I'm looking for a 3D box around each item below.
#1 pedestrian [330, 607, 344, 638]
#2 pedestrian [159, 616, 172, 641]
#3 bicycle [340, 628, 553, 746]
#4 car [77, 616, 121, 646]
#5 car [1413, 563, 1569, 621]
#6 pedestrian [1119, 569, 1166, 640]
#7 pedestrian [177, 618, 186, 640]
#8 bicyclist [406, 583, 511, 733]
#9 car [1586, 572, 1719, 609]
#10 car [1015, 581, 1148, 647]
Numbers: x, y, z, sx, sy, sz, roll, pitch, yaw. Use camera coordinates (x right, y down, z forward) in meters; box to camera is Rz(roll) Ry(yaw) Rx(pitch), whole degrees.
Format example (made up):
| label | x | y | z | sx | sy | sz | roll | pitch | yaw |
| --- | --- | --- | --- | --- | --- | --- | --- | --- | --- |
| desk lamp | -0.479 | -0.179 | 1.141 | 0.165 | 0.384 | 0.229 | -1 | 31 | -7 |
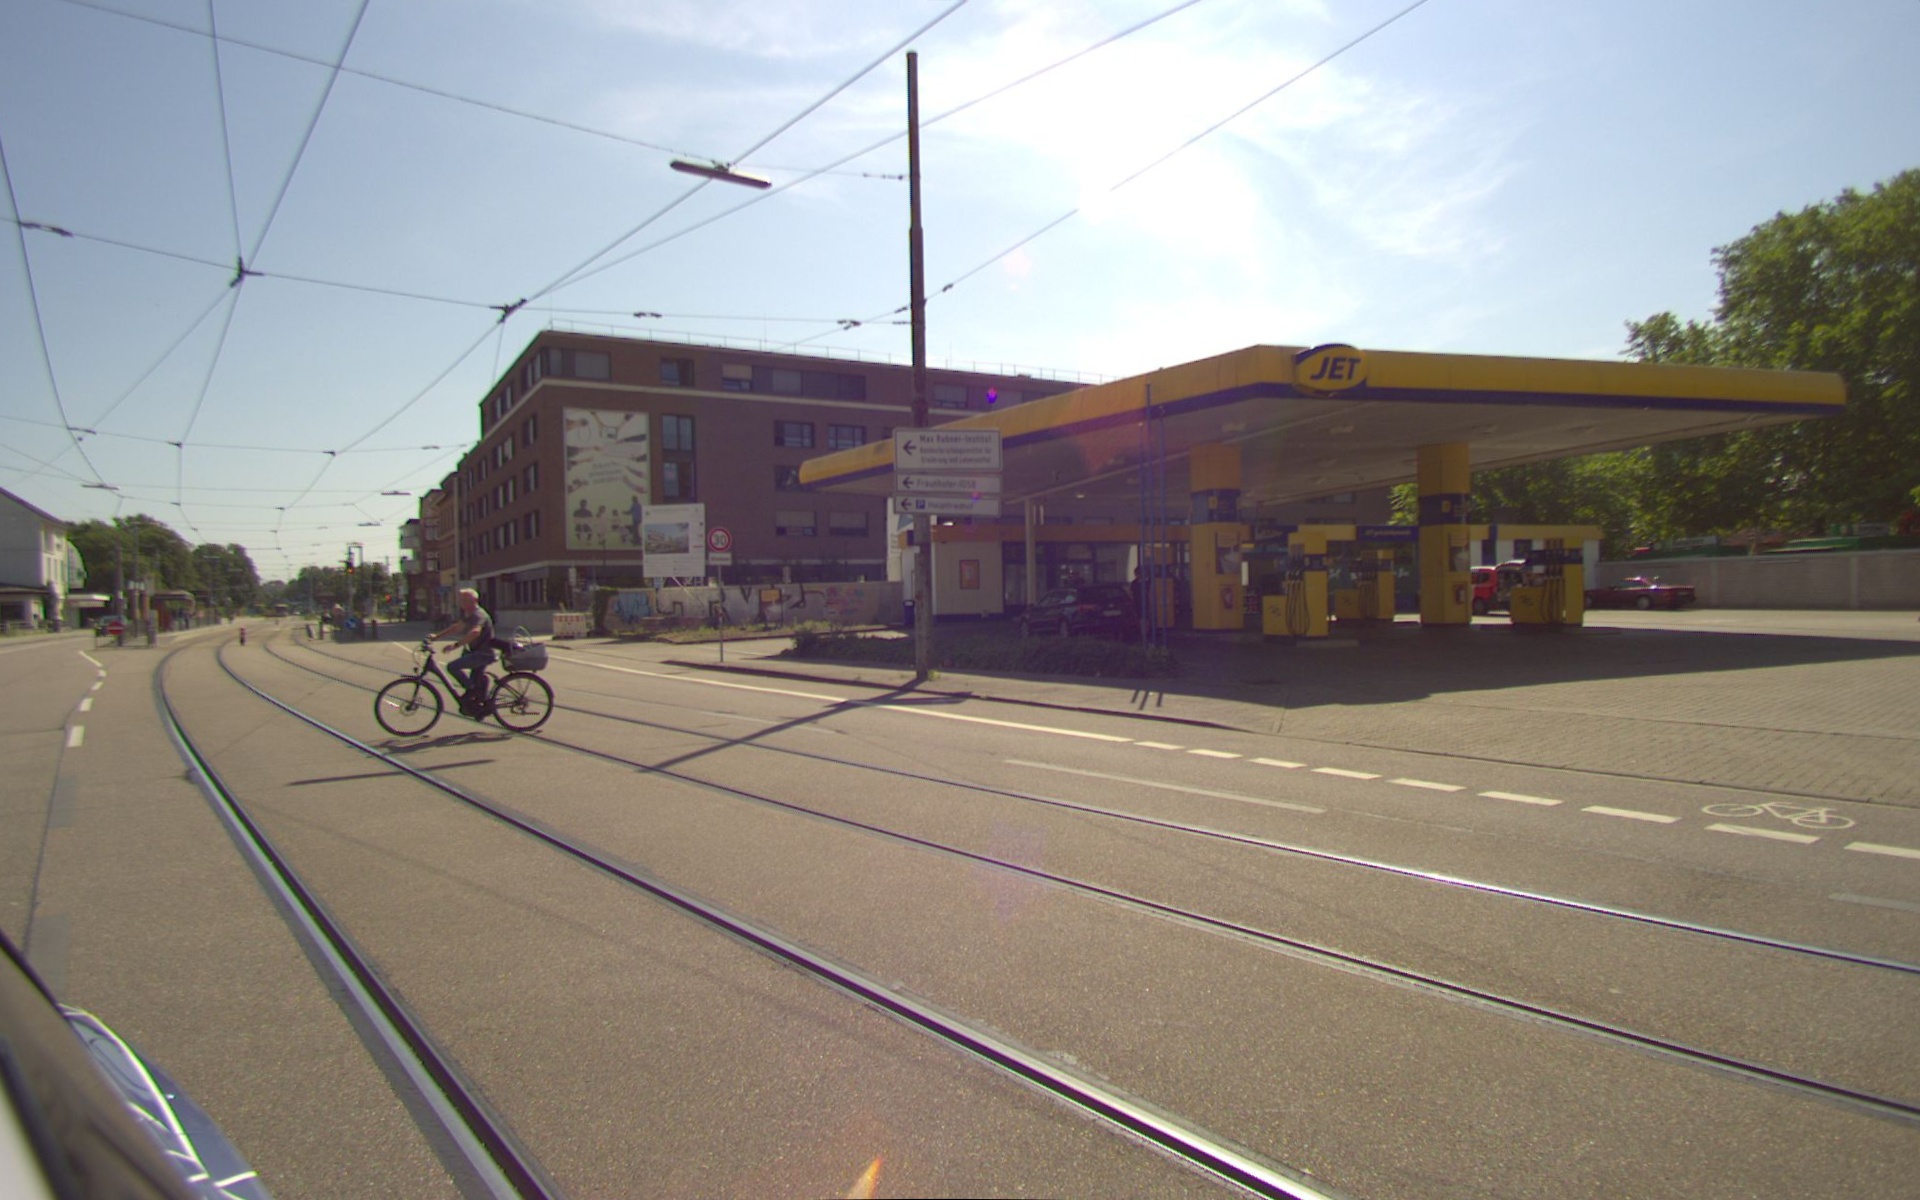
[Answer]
| label | x | y | z | sx | sy | sz | roll | pitch | yaw |
| --- | --- | --- | --- | --- | --- | --- | --- | --- | --- |
| pedestrian | -36.726 | 1.303 | 59.640 | 0.549 | 1.773 | 0.795 | -2 | 0 | -40 |
| pedestrian | -53.860 | 1.932 | 68.605 | 0.697 | 1.702 | 0.417 | -1 | 0 | -42 |
| bicycle | -5.860 | 0.964 | 11.664 | 2.087 | 1.206 | 0.614 | -2 | 0 | -17 |
| car | -61.886 | 2.208 | 72.777 | 1.967 | 2.029 | 4.010 | -1 | 0 | -35 |
| car | 19.818 | -0.267 | 38.082 | 1.731 | 1.997 | 5.324 | -2 | 0 | -21 |
| pedestrian | 4.633 | 0.111 | 25.692 | 0.845 | 1.738 | 0.746 | -2 | 0 | -38 |
| pedestrian | -59.817 | 2.220 | 77.731 | 0.707 | 1.702 | 0.410 | -2 | 0 | 43 |
| bicyclist | -5.692 | 0.625 | 11.546 | 0.948 | 1.607 | 0.909 | -1 | 0 | -20 |
| car | 27.749 | -0.346 | 40.717 | 1.731 | 1.370 | 4.145 | -2 | 0 | -19 |
| car | 3.092 | 0.375 | 26.750 | 1.732 | 1.466 | 4.423 | -5 | 0 | -17 |
